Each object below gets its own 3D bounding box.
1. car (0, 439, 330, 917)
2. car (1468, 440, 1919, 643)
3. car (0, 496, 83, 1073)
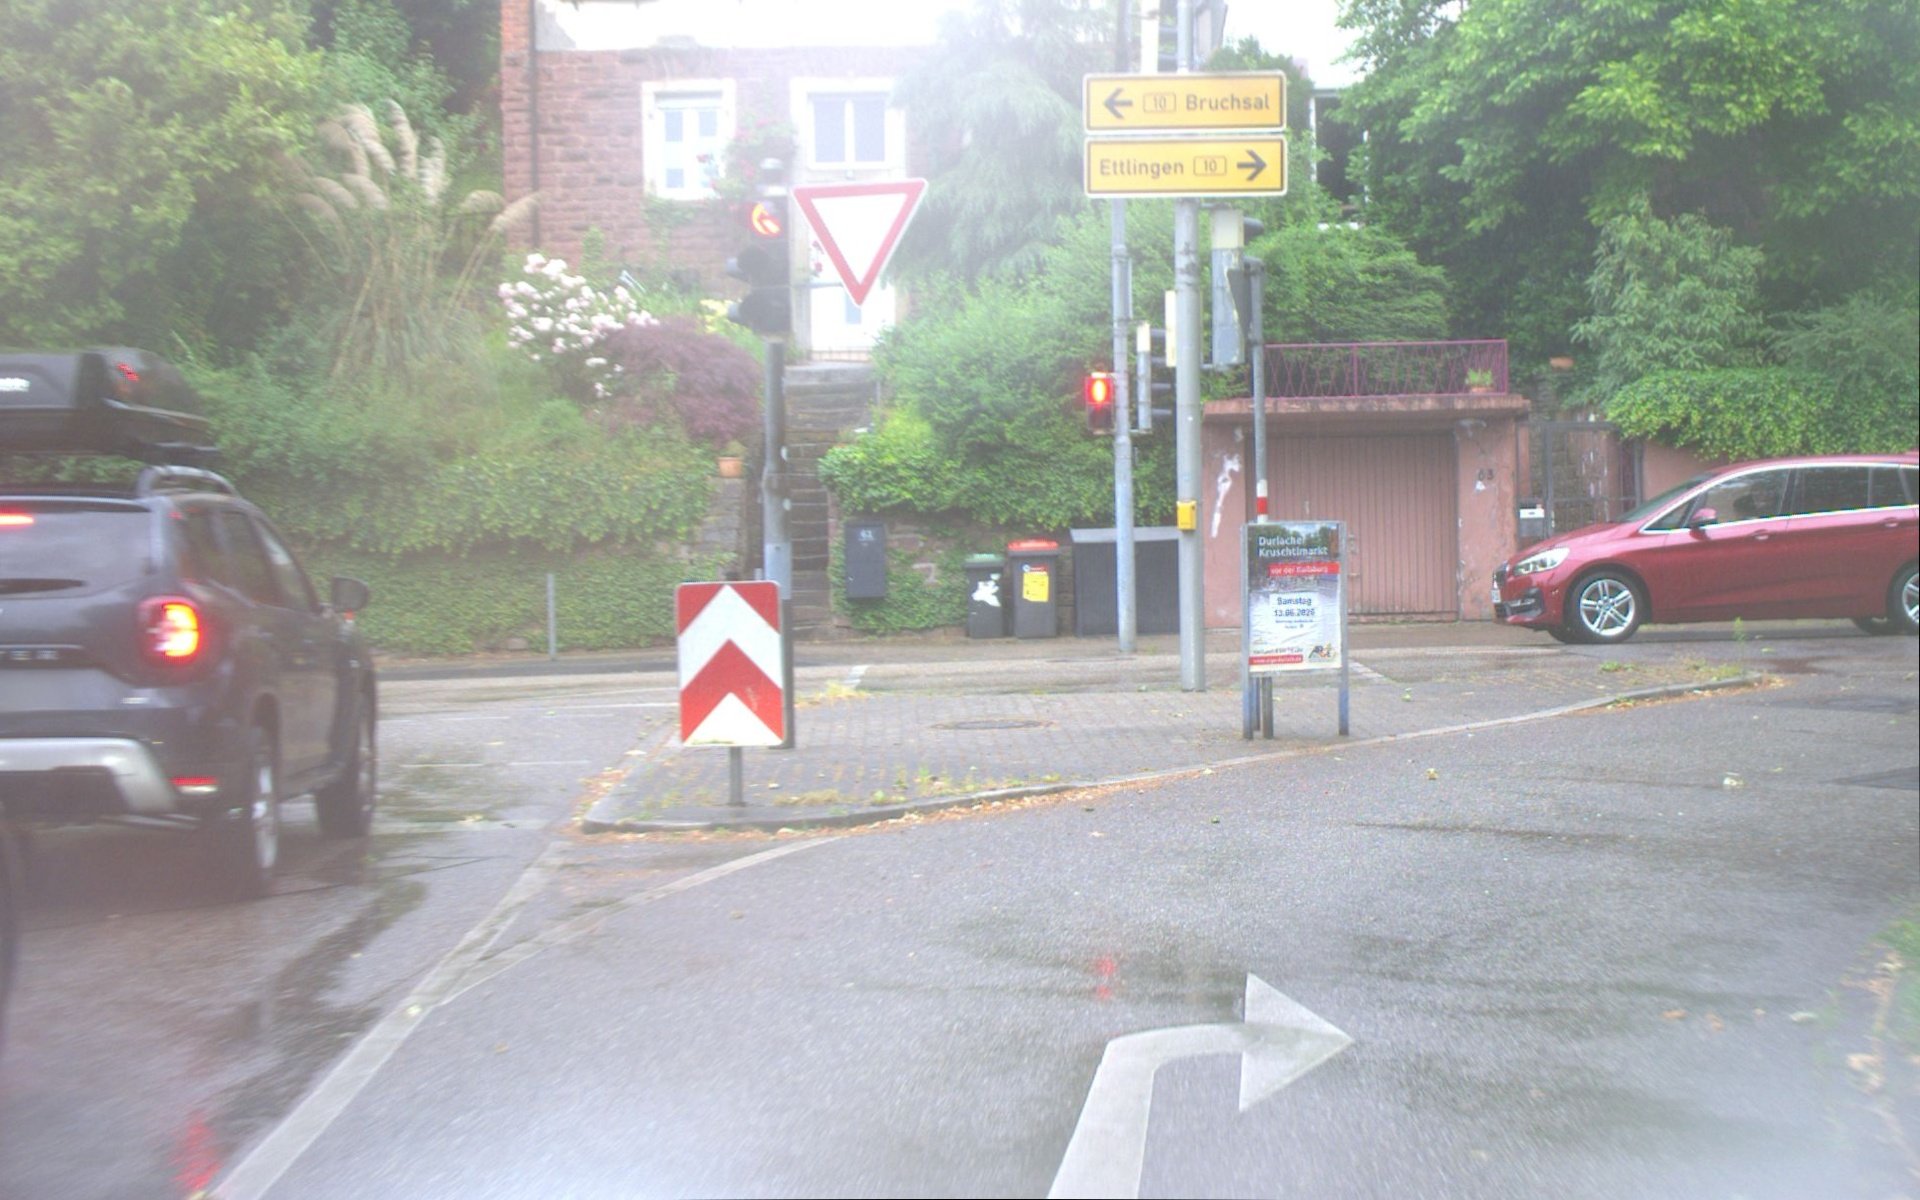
[{"bbox_3d":[-3.695,0.191,14.512,1.760,1.705,4.602,0,2,-7],"label":"car"},{"bbox_3d":[6.906,-0.520,30.247,4.568,1.595,1.775,-2,0,1],"label":"car"},{"bbox_3d":[-3.323,0.517,7.119,1.831,1.451,4.659,1,2,0],"label":"car"}]
